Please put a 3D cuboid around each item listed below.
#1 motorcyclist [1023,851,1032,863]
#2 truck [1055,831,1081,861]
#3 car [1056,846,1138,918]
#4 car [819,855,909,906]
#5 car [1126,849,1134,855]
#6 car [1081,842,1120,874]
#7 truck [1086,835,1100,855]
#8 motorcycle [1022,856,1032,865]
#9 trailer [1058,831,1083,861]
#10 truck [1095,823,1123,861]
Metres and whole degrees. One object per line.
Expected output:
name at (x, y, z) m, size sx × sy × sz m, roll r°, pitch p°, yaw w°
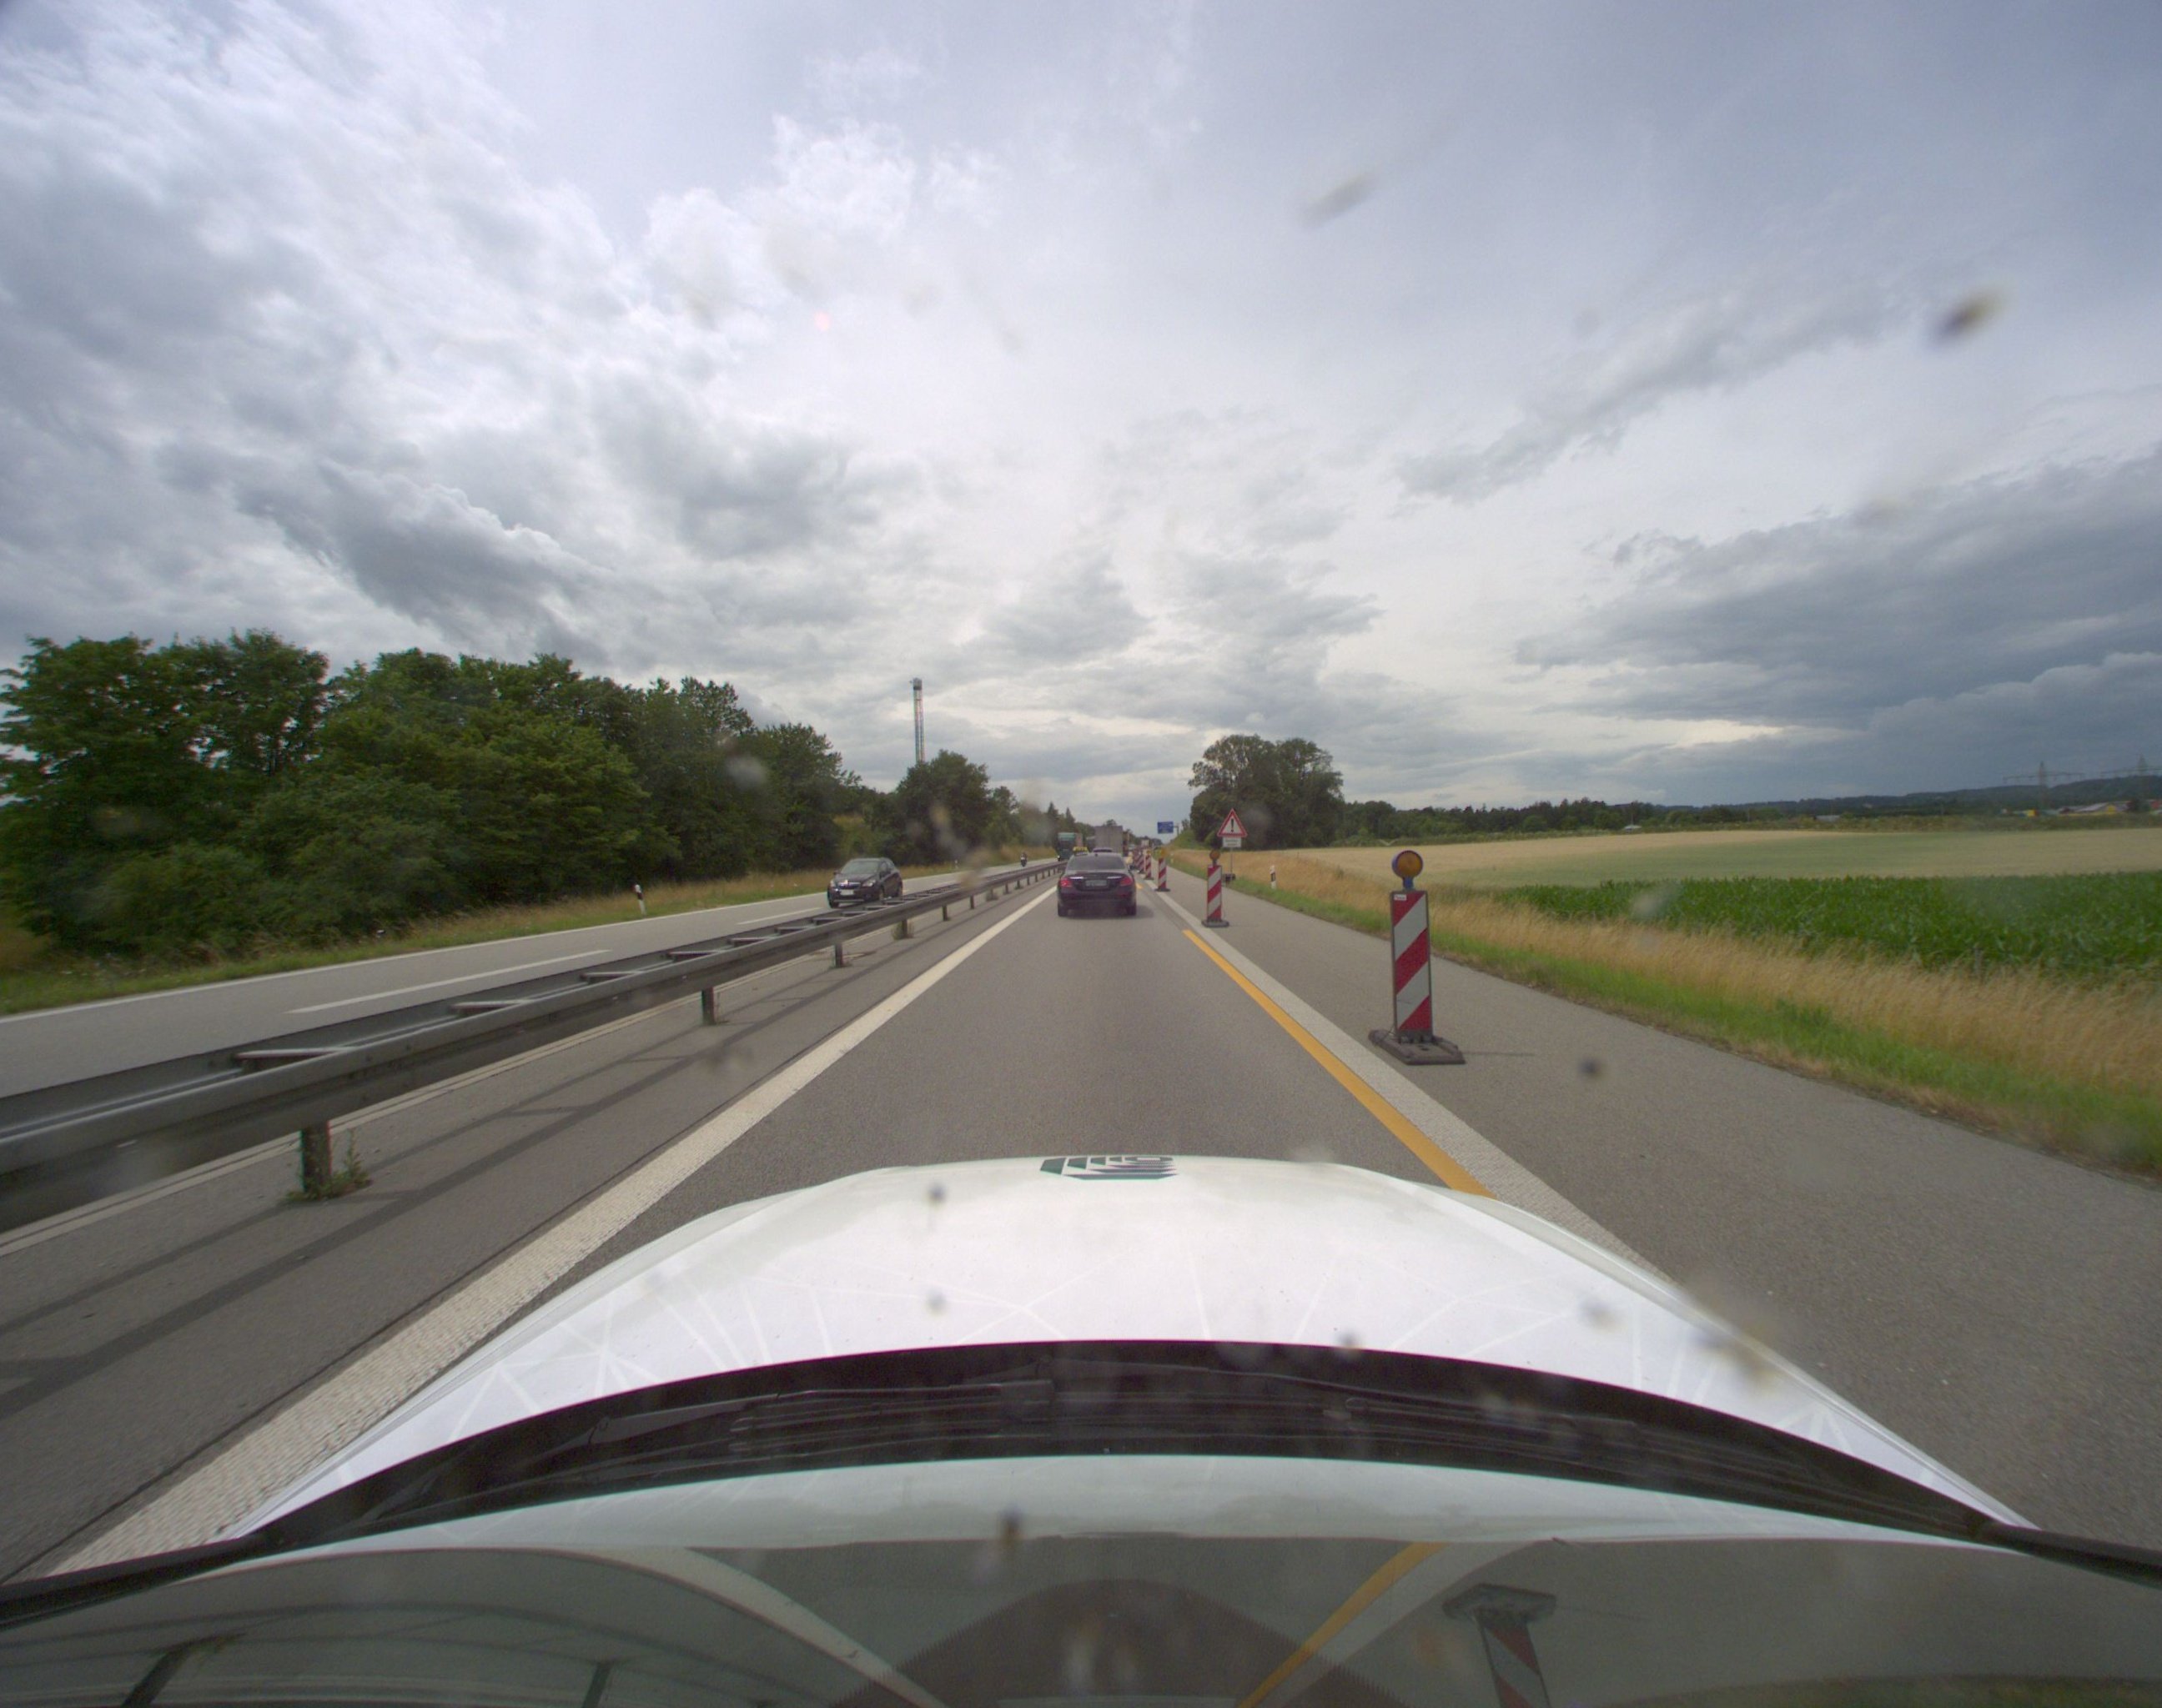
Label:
motorcyclist at (-5.762, 0.308, 87.342) m, size 0.858 × 1.209 × 0.961 m, roll 0°, pitch -1°, yaw 1°
truck at (-1.823, -1.111, 117.193) m, size 3.109 × 4.213 × 6.788 m, roll 0°, pitch -1°, yaw 4°
car at (0.363, 0.614, 19.758) m, size 1.790 × 1.560 × 4.000 m, roll 0°, pitch 0°, yaw 0°
car at (-7.630, 0.885, 29.015) m, size 1.986 × 1.684 × 4.234 m, roll 0°, pitch 0°, yaw 1°
car at (11.481, -0.400, 190.721) m, size 1.645 × 1.395 × 3.703 m, roll 0°, pitch 0°, yaw -2°
car at (1.190, 0.249, 52.694) m, size 1.991 × 2.014 × 3.991 m, roll 0°, pitch 0°, yaw -7°
truck at (2.606, -1.902, 176.338) m, size 2.628 × 4.170 × 6.992 m, roll 0°, pitch -1°, yaw 4°
motorcycle at (-5.765, 0.737, 87.417) m, size 0.852 × 0.934 × 2.725 m, roll 0°, pitch 0°, yaw 2°
trailer at (-1.500, -1.090, 122.652) m, size 3.138 × 4.213 × 11.649 m, roll 0°, pitch 0°, yaw 2°
truck at (2.684, -1.146, 78.427) m, size 2.578 × 3.524 × 4.813 m, roll 0°, pitch -1°, yaw 1°
